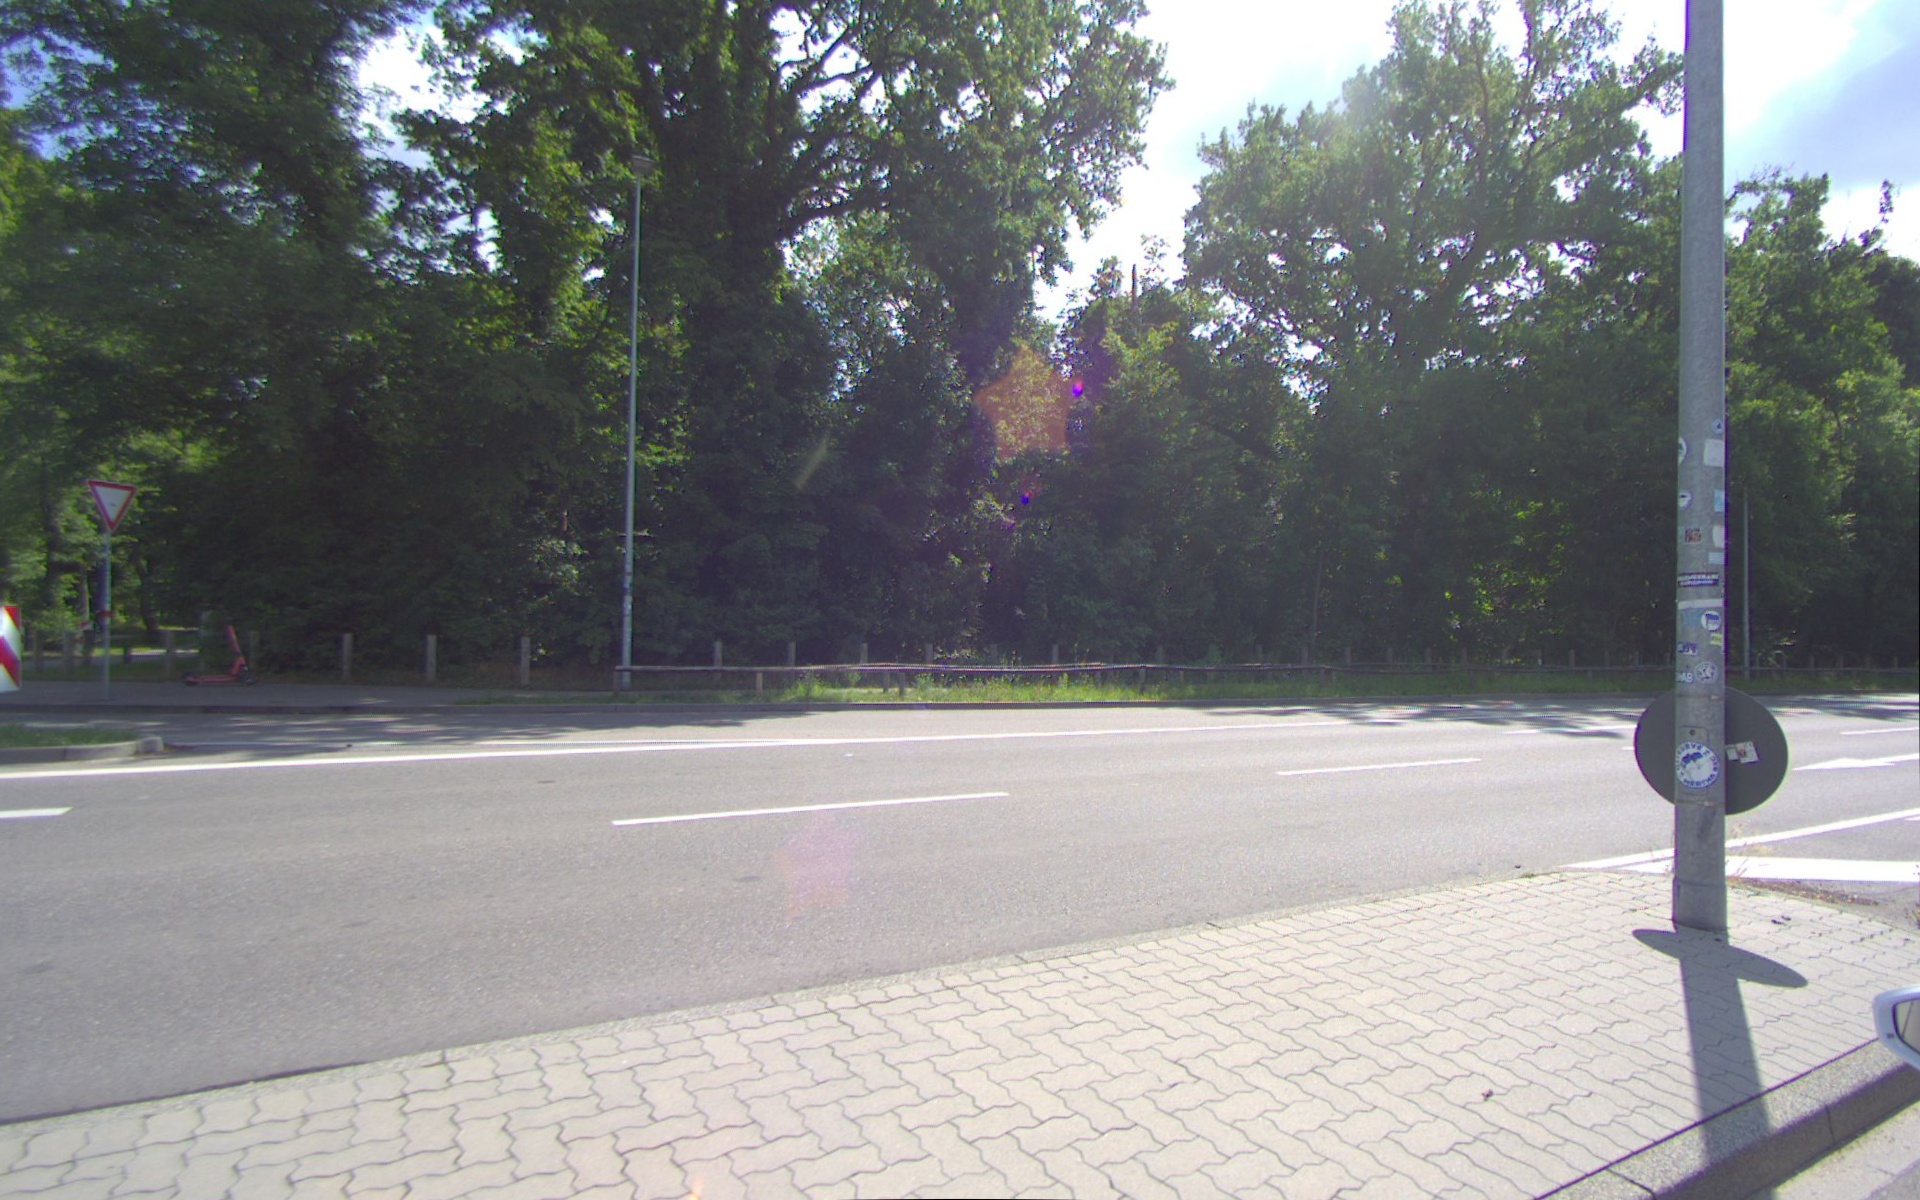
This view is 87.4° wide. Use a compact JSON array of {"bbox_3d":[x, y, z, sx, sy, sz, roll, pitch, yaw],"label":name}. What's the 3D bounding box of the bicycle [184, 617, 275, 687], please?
[{"bbox_3d":[-12.884,0.919,17.735,1.207,1.189,0.420,2,0,-8],"label":"bicycle"}]
